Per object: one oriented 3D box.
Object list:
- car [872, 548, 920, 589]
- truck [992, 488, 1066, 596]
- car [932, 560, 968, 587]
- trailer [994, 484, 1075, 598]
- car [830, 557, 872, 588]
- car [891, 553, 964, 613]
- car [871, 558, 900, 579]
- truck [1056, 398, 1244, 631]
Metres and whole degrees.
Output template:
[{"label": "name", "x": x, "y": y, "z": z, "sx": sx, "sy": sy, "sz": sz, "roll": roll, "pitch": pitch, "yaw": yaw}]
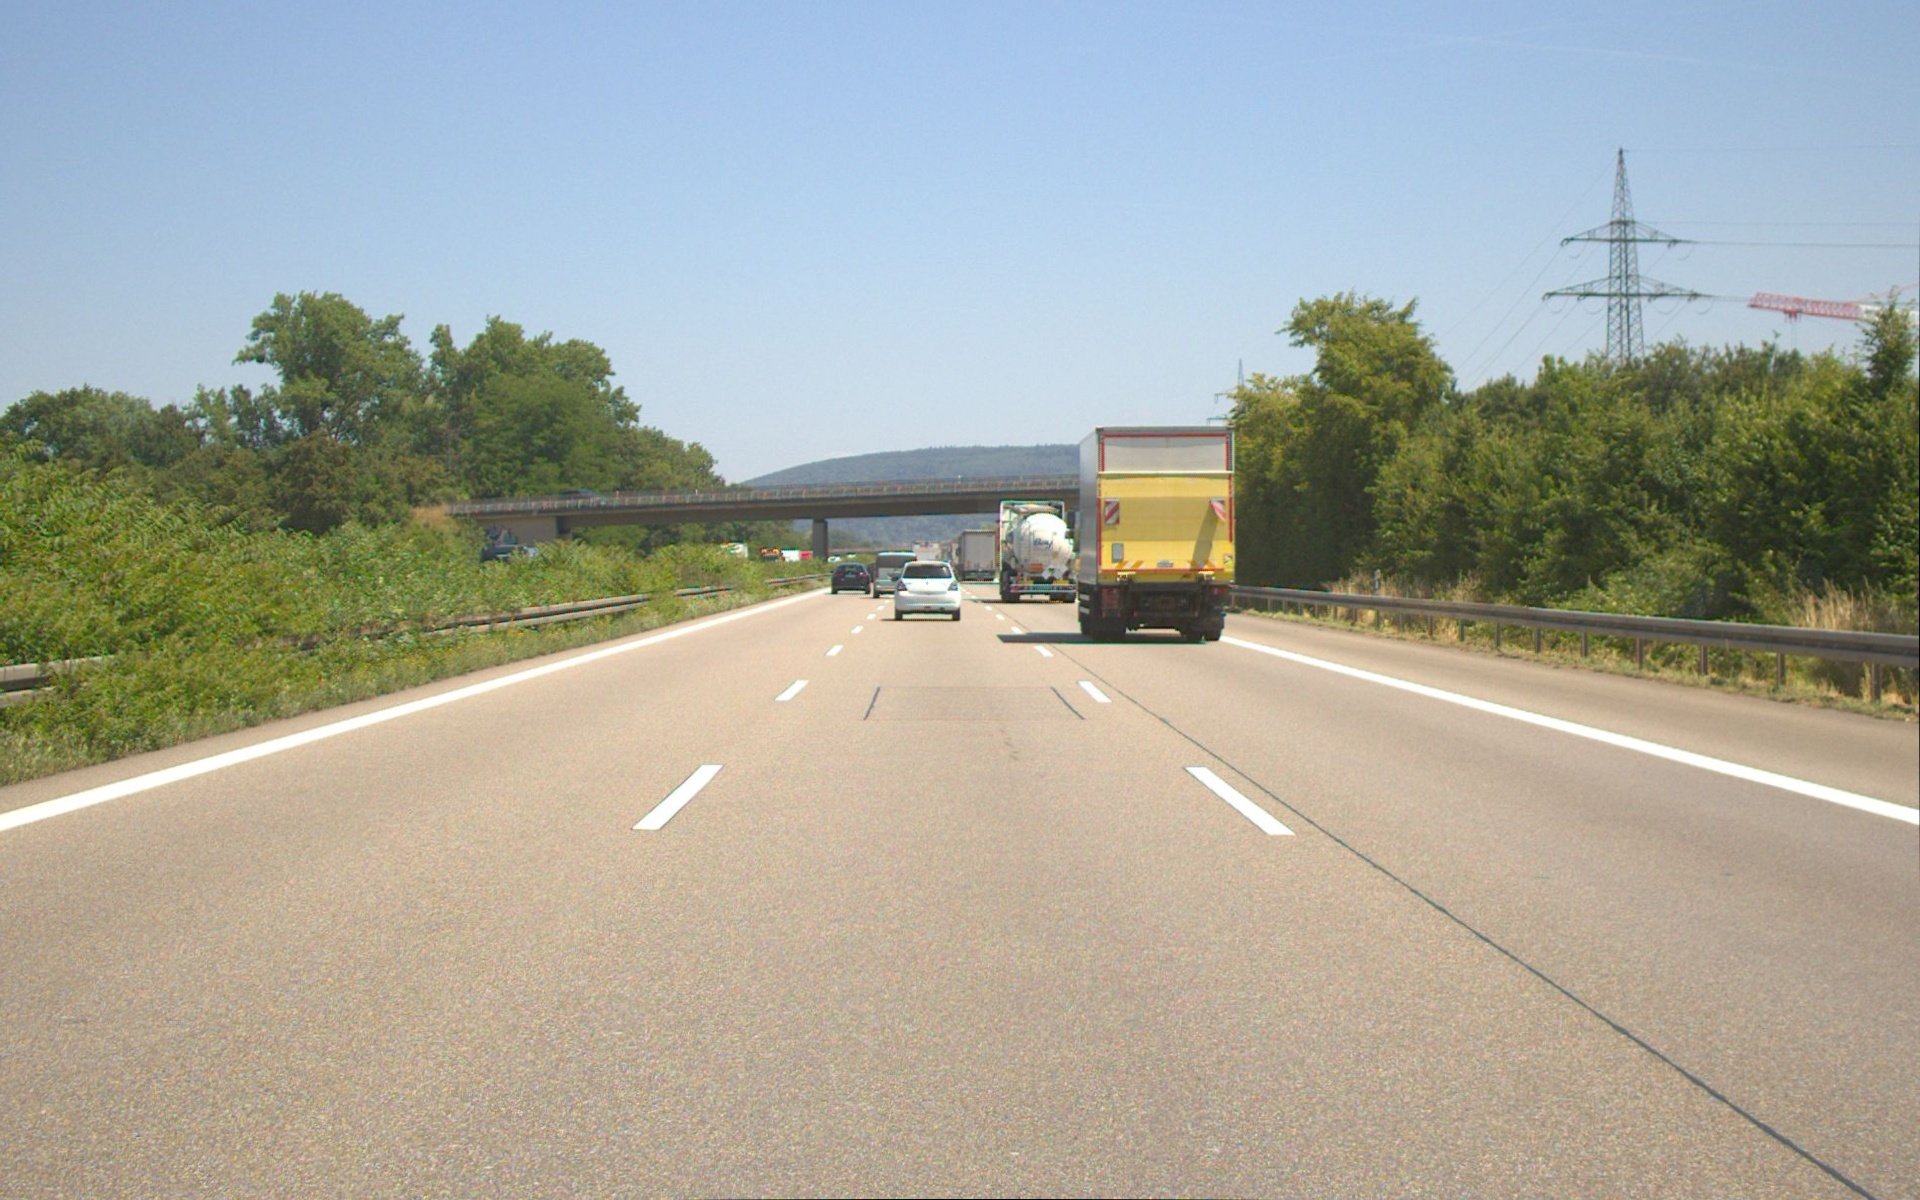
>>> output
[{"label": "car", "x": -2.606, "y": -1.294, "z": 140.353, "sx": 1.852, "sy": 1.627, "sz": 4.000, "roll": 1, "pitch": 1, "yaw": 0}, {"label": "truck", "x": 2.639, "y": -2.231, "z": 133.844, "sx": 2.573, "sy": 4.058, "sz": 6.393, "roll": 1, "pitch": 1, "yaw": -1}, {"label": "car", "x": -0.538, "y": -1.396, "z": 182.849, "sx": 1.835, "sy": 1.382, "sz": 4.000, "roll": 1, "pitch": 1, "yaw": 0}, {"label": "trailer", "x": 2.728, "y": -2.180, "z": 129.014, "sx": 2.580, "sy": 4.060, "sz": 11.104, "roll": 1, "pitch": 1, "yaw": -1}, {"label": "car", "x": -5.029, "y": -1.284, "z": 159.154, "sx": 1.835, "sy": 1.382, "sz": 4.000, "roll": 1, "pitch": 1, "yaw": 0}, {"label": "car", "x": -0.821, "y": -0.449, "z": 88.337, "sx": 1.806, "sy": 1.463, "sz": 4.000, "roll": 1, "pitch": 1, "yaw": 0}, {"label": "car", "x": -4.953, "y": -2.099, "z": 228.347, "sx": 1.835, "sy": 1.382, "sz": 4.000, "roll": 1, "pitch": 1, "yaw": 0}, {"label": "truck", "x": 3.606, "y": -1.621, "z": 67.940, "sx": 2.933, "sy": 4.185, "sz": 10.682, "roll": 1, "pitch": 1, "yaw": -1}]
